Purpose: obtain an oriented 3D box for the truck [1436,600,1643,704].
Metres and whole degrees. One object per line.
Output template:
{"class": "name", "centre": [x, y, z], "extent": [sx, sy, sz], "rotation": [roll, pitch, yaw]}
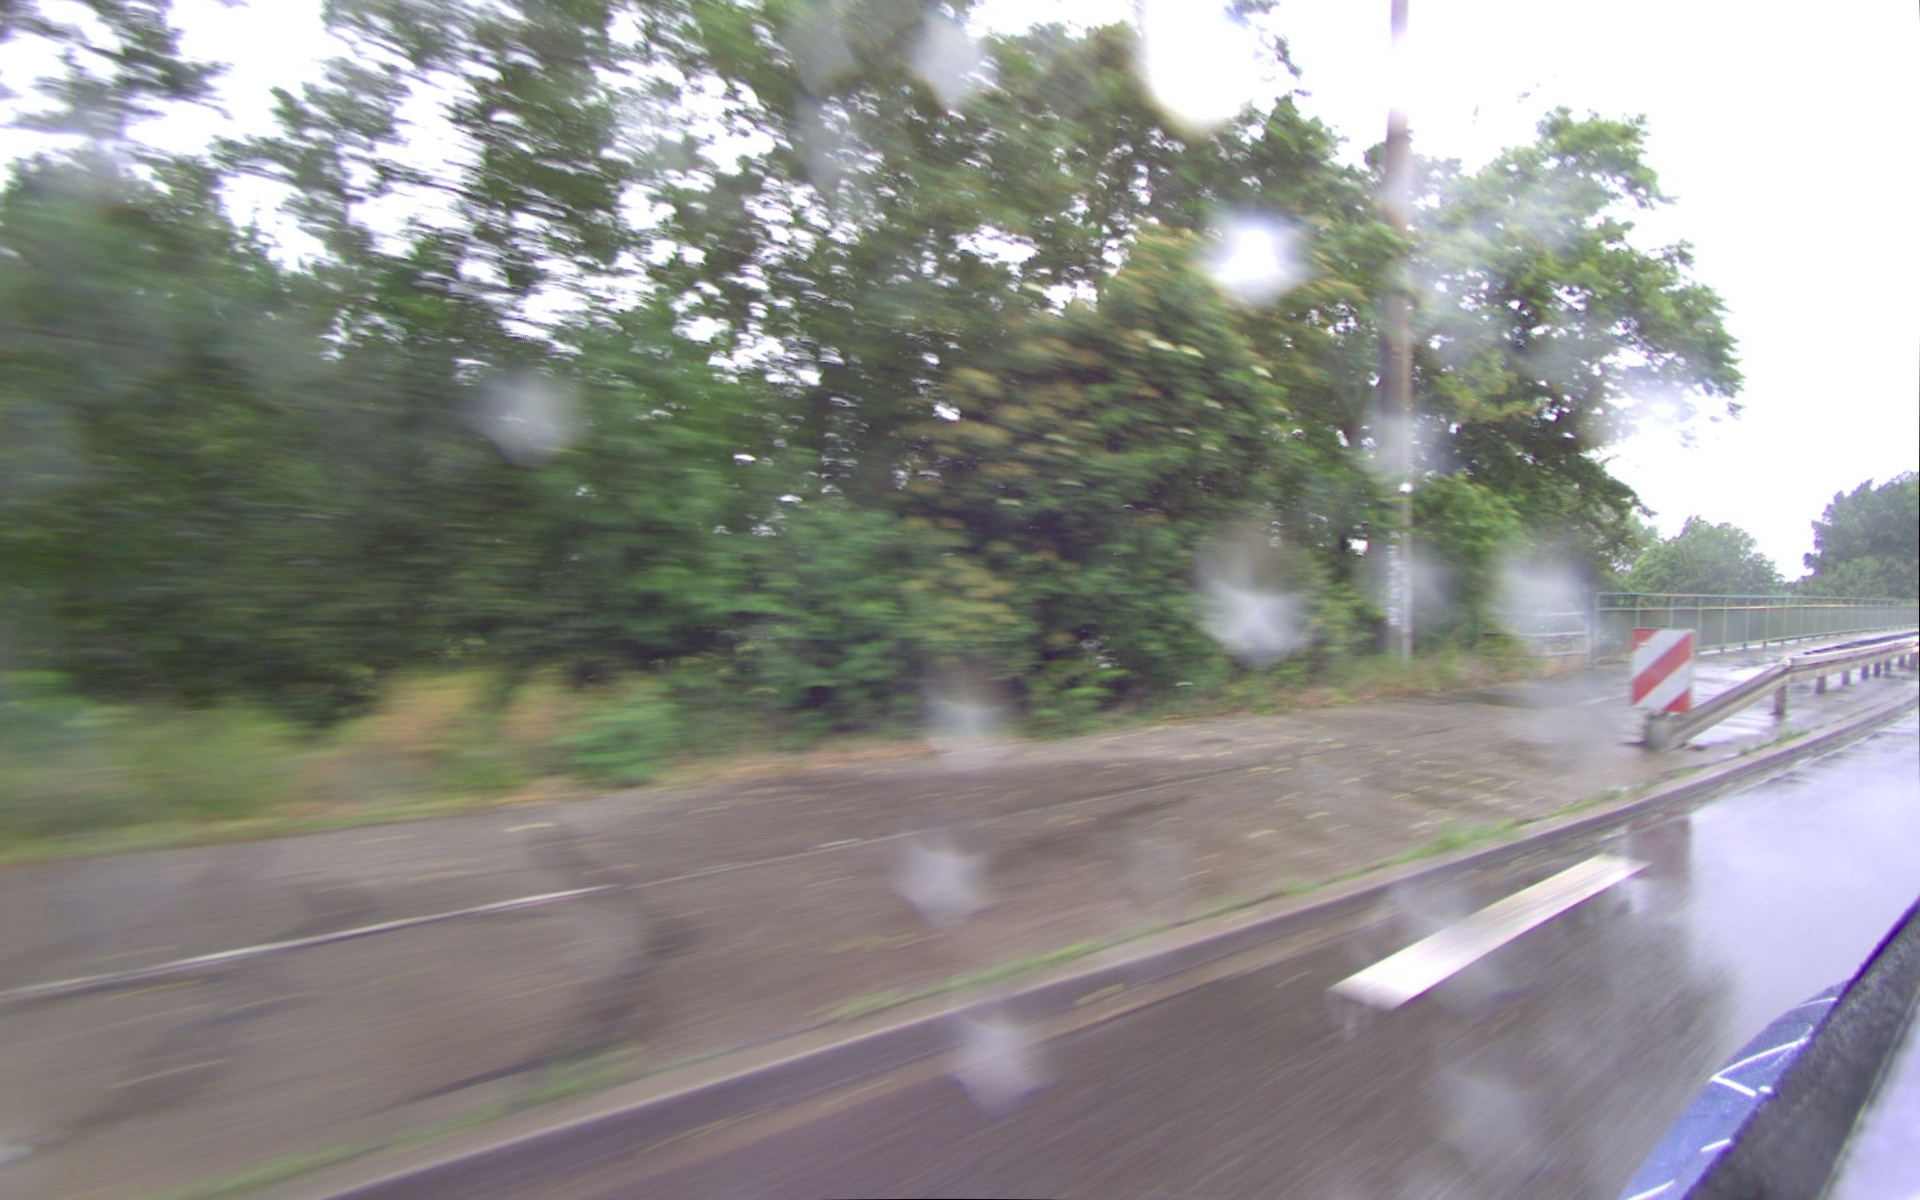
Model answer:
{"class": "truck", "centre": [31.596, 2.575, 56.247], "extent": [3.079, 4.497, 12.403], "rotation": [-1, 2, -7]}
